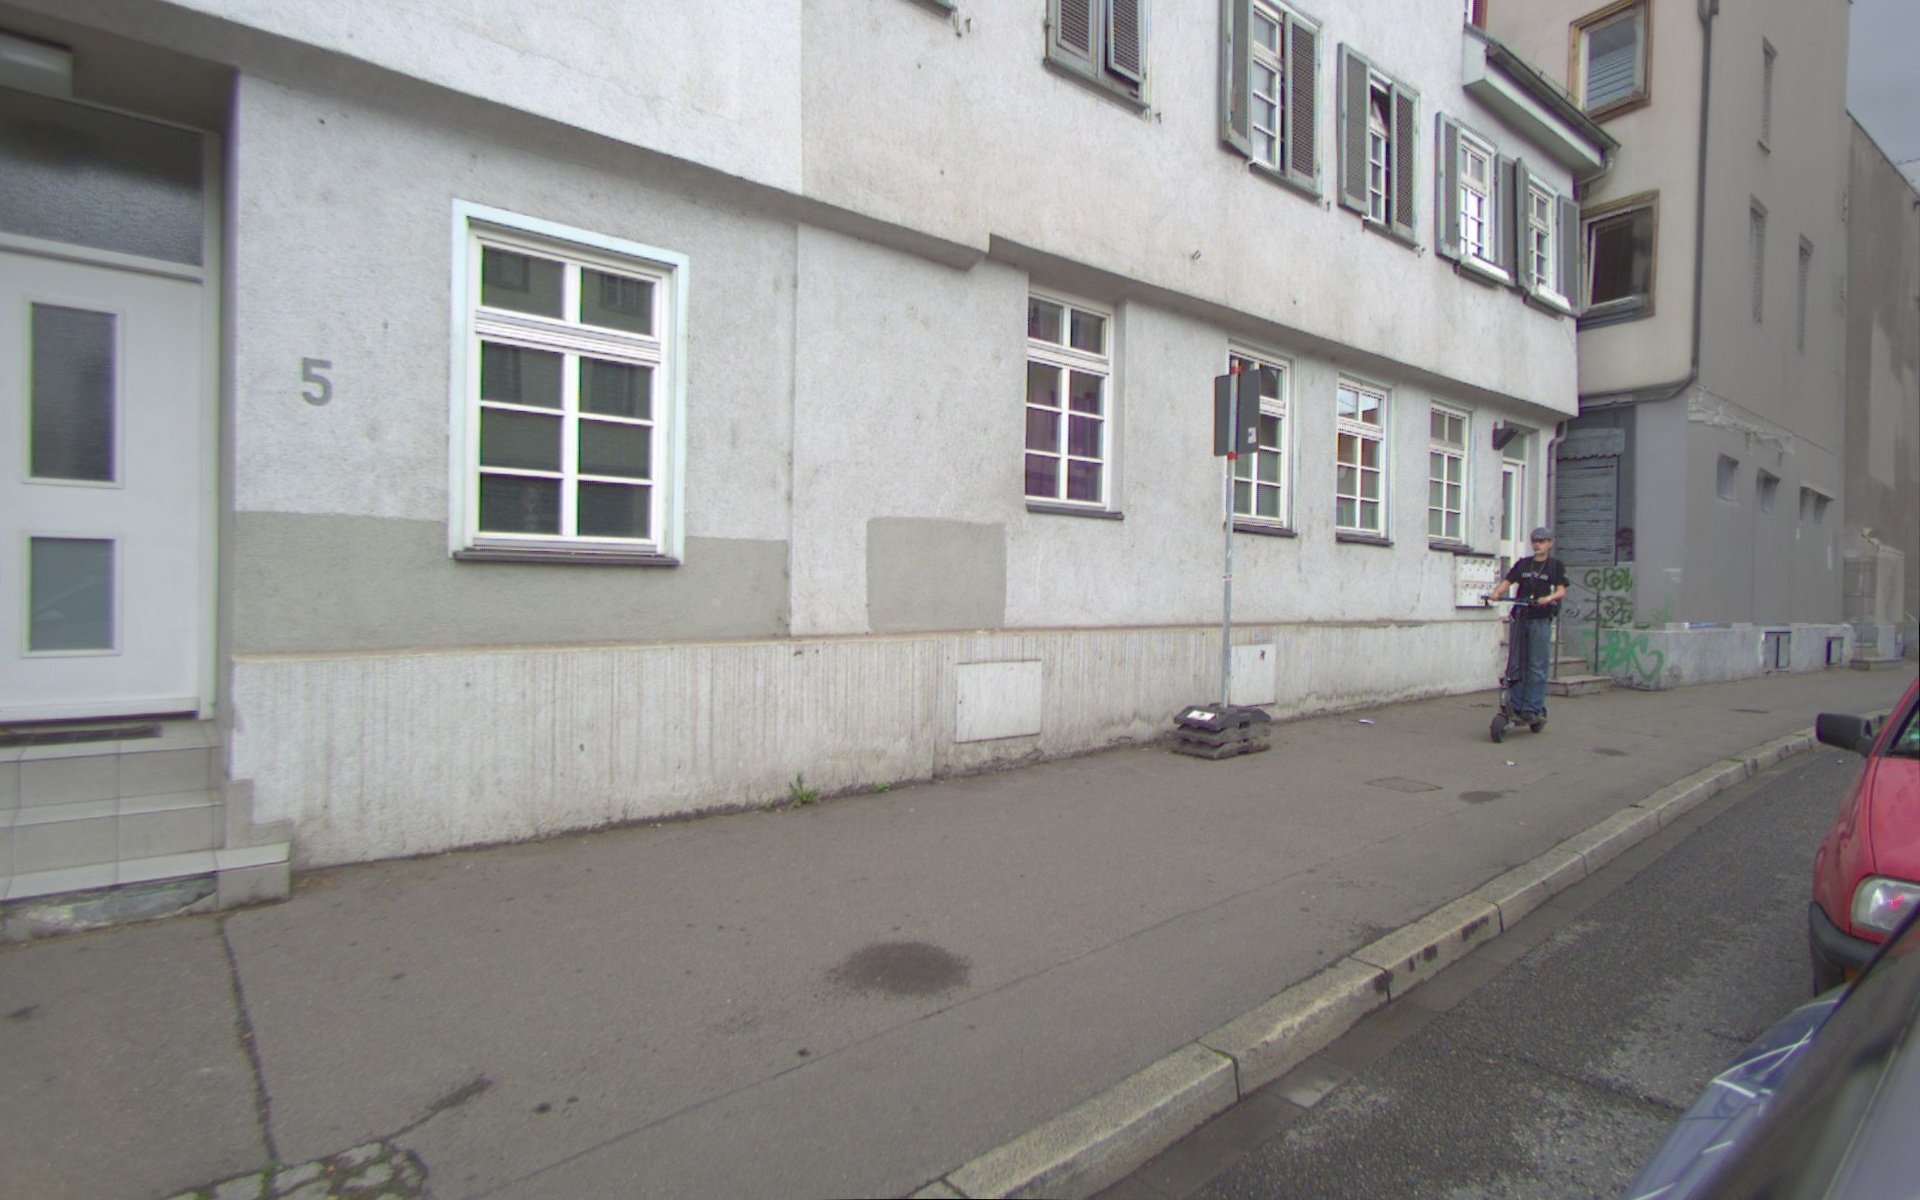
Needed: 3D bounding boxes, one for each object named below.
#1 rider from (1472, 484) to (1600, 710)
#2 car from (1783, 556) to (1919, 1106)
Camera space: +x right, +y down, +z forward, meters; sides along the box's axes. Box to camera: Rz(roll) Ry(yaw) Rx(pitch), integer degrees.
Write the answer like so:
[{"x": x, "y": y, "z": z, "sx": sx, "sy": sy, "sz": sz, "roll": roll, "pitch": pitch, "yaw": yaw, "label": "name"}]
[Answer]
[{"x": 5.079, "y": -0.033, "z": 8.925, "sx": 0.783, "sy": 1.870, "sz": 0.719, "roll": 1, "pitch": 1, "yaw": -41, "label": "rider"}, {"x": 4.395, "y": 0.592, "z": 3.477, "sx": 3.930, "sy": 1.443, "sz": 1.791, "roll": -1, "pitch": 1, "yaw": -41, "label": "car"}]
